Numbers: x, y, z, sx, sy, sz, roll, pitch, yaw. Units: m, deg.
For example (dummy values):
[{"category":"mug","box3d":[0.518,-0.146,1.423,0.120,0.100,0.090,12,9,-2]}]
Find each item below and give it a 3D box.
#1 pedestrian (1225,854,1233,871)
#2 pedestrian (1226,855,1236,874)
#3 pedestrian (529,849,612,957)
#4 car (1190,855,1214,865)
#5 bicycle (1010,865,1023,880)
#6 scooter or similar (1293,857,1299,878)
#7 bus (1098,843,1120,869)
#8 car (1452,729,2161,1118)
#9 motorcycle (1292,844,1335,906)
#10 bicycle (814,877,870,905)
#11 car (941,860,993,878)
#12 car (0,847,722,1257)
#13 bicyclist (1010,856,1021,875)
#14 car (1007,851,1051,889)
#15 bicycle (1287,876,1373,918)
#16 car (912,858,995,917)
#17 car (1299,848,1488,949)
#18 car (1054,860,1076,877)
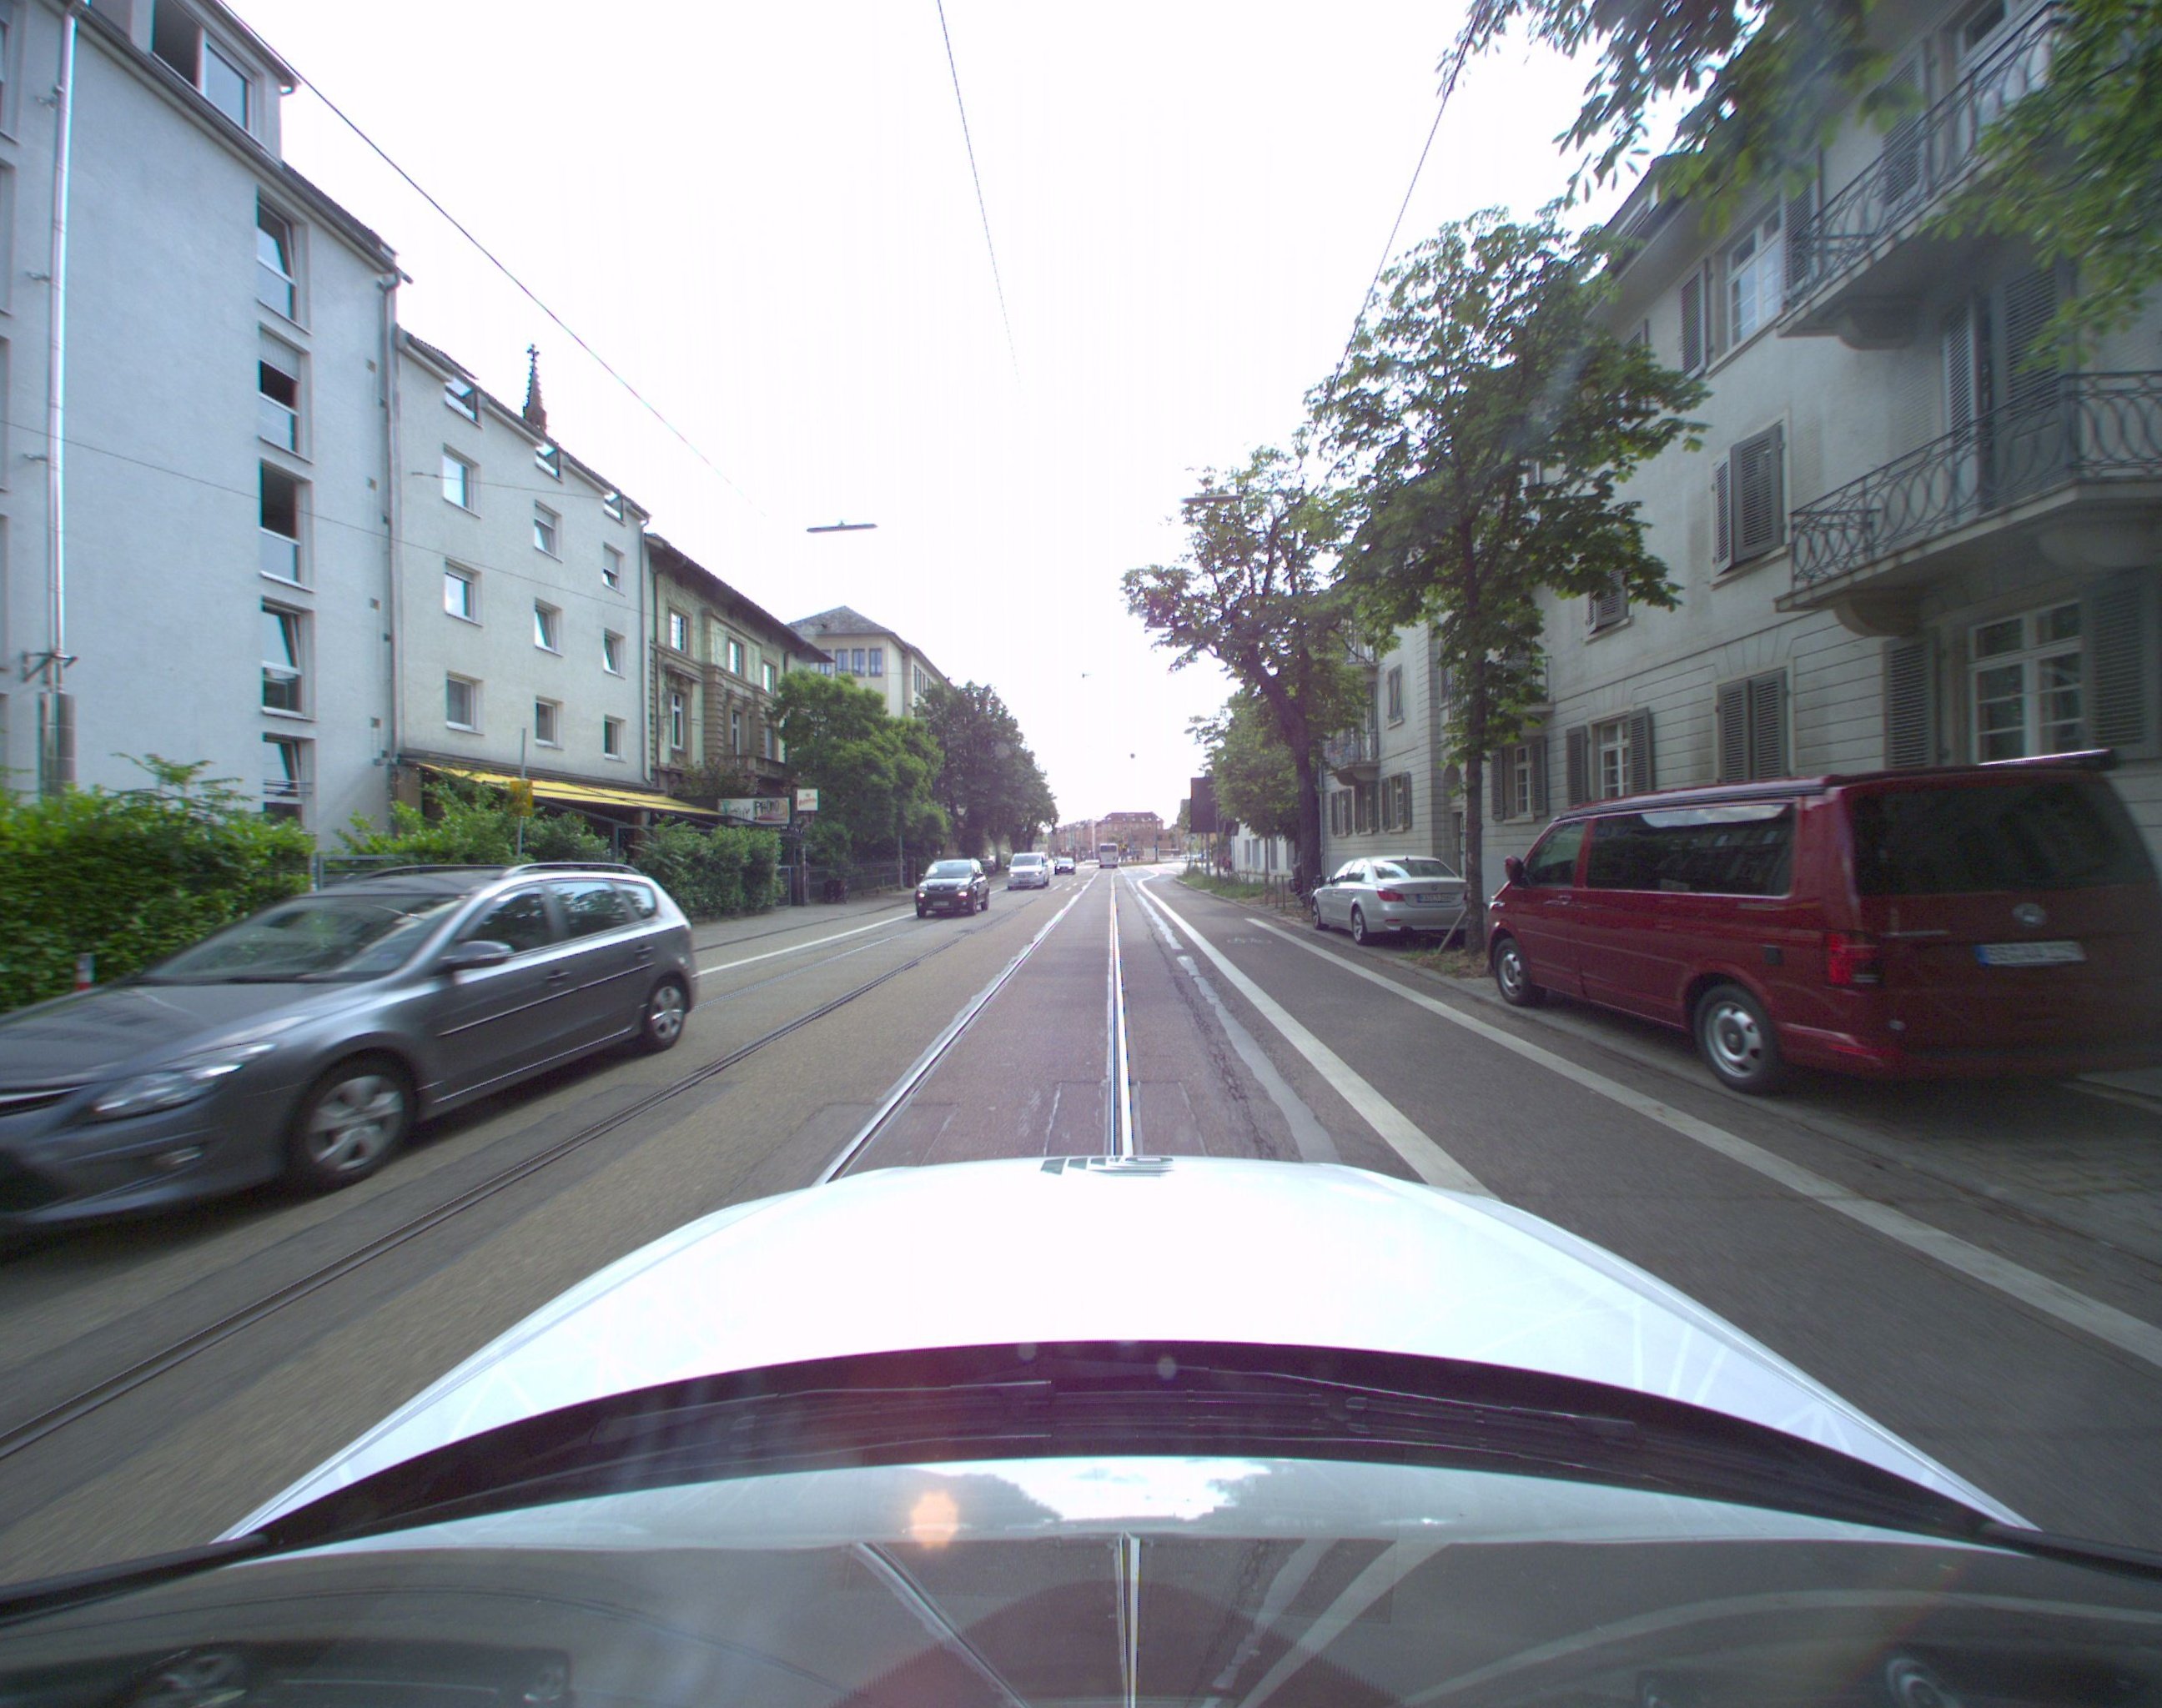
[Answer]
[{"category":"pedestrian","box3d":[13.811,0.794,76.132,0.519,1.580,0.547,-3,1,-8]},{"category":"pedestrian","box3d":[13.752,0.939,74.694,0.682,1.724,0.747,-3,1,3]},{"category":"pedestrian","box3d":[-9.454,0.870,15.100,0.819,1.917,1.069,-2,-1,38]},{"category":"car","box3d":[21.886,1.110,147.183,4.123,1.684,2.112,0,1,-40]},{"category":"bicycle","box3d":[-5.251,1.490,65.971,0.600,1.097,2.025,-7,0,5]},{"category":"scooter or similar","box3d":[11.892,0.734,45.065,0.320,1.181,1.152,-1,-1,15]},{"category":"bus","box3d":[3.885,0.348,113.907,2.907,3.328,12.209,0,-1,2]},{"category":"car","box3d":[5.037,0.365,6.620,1.888,1.941,4.952,-1,0,2]},{"category":"motorcycle","box3d":[6.168,0.544,21.750,0.973,1.542,2.449,-1,-1,13]},{"category":"bicycle","box3d":[-9.176,1.399,31.438,1.138,0.909,2.990,2,0,2]},{"category":"car","box3d":[-10.014,1.329,71.552,4.249,1.447,1.779,-1,0,-26]},{"category":"car","box3d":[-4.223,0.792,5.263,1.720,1.540,4.279,-2,-1,2]},{"category":"bicyclist","box3d":[-5.313,0.916,66.002,0.596,1.492,0.883,-7,-1,5]},{"category":"car","box3d":[-2.751,0.820,44.051,1.891,1.907,5.384,-1,0,1]},{"category":"bicycle","box3d":[5.710,0.987,18.728,1.768,0.903,0.692,-1,-1,4]},{"category":"car","box3d":[-3.604,0.908,23.687,1.625,1.556,3.824,-1,0,2]},{"category":"car","box3d":[5.401,0.694,14.807,1.700,1.498,4.791,-1,0,2]},{"category":"car","box3d":[-1.417,1.276,72.967,1.682,1.402,3.932,-2,-1,2]}]
